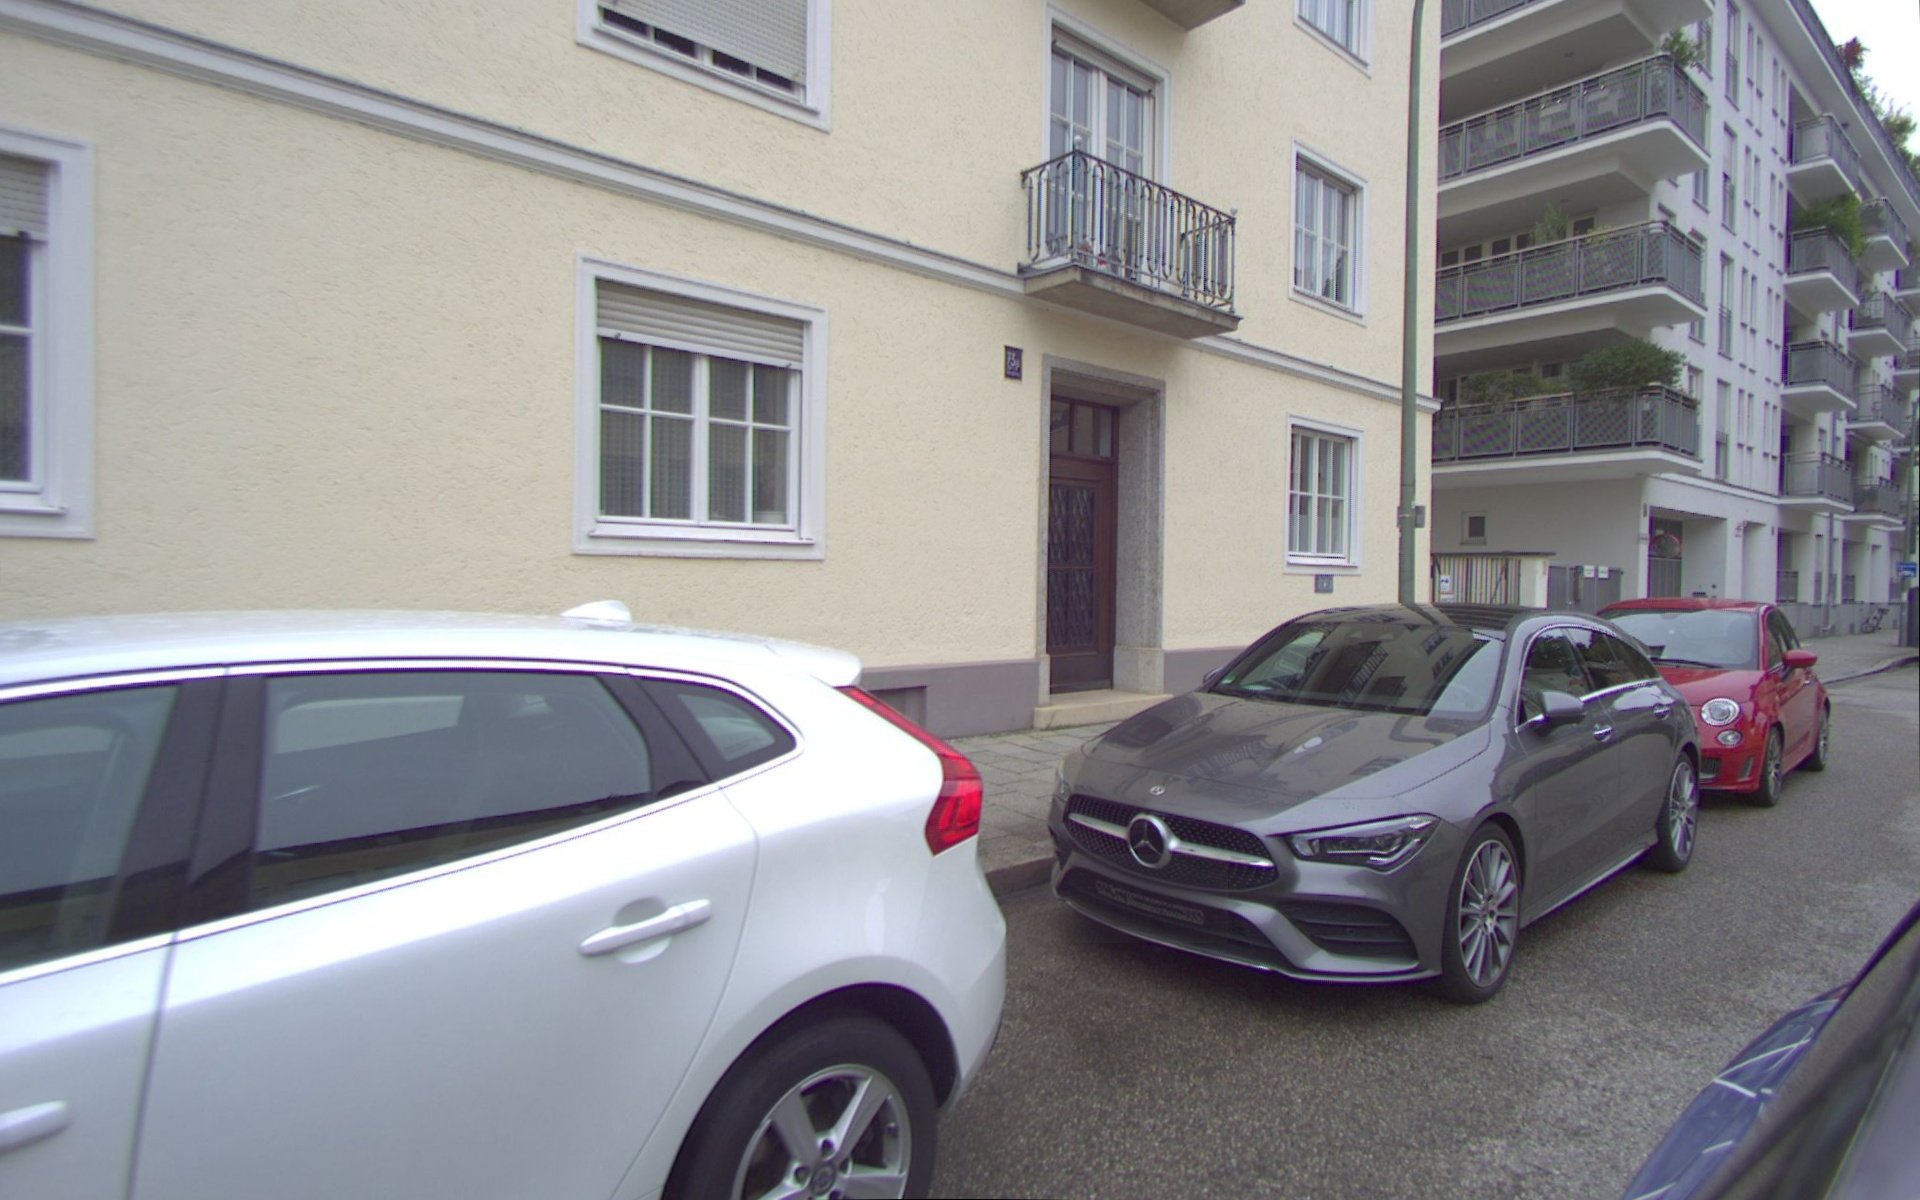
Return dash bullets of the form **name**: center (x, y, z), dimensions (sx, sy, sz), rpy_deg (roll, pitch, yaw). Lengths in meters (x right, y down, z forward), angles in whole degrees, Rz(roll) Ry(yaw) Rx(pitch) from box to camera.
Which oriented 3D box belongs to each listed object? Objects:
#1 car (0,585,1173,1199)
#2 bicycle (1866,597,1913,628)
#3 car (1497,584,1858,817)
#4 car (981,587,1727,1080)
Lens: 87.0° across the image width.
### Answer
- **car**: center (-1.622, 0.694, 1.852), dimensions (4.366, 1.427, 1.682), rpy_deg (-1, 1, -42)
- **bicycle**: center (32.141, 0.417, 34.981), dimensions (1.913, 1.027, 0.582), rpy_deg (0, 0, -28)
- **car**: center (6.162, 0.637, 8.537), dimensions (3.758, 1.516, 1.682), rpy_deg (-1, 1, -42)
- **car**: center (2.263, 0.659, 5.051), dimensions (4.345, 1.427, 1.682), rpy_deg (-1, 1, -42)
